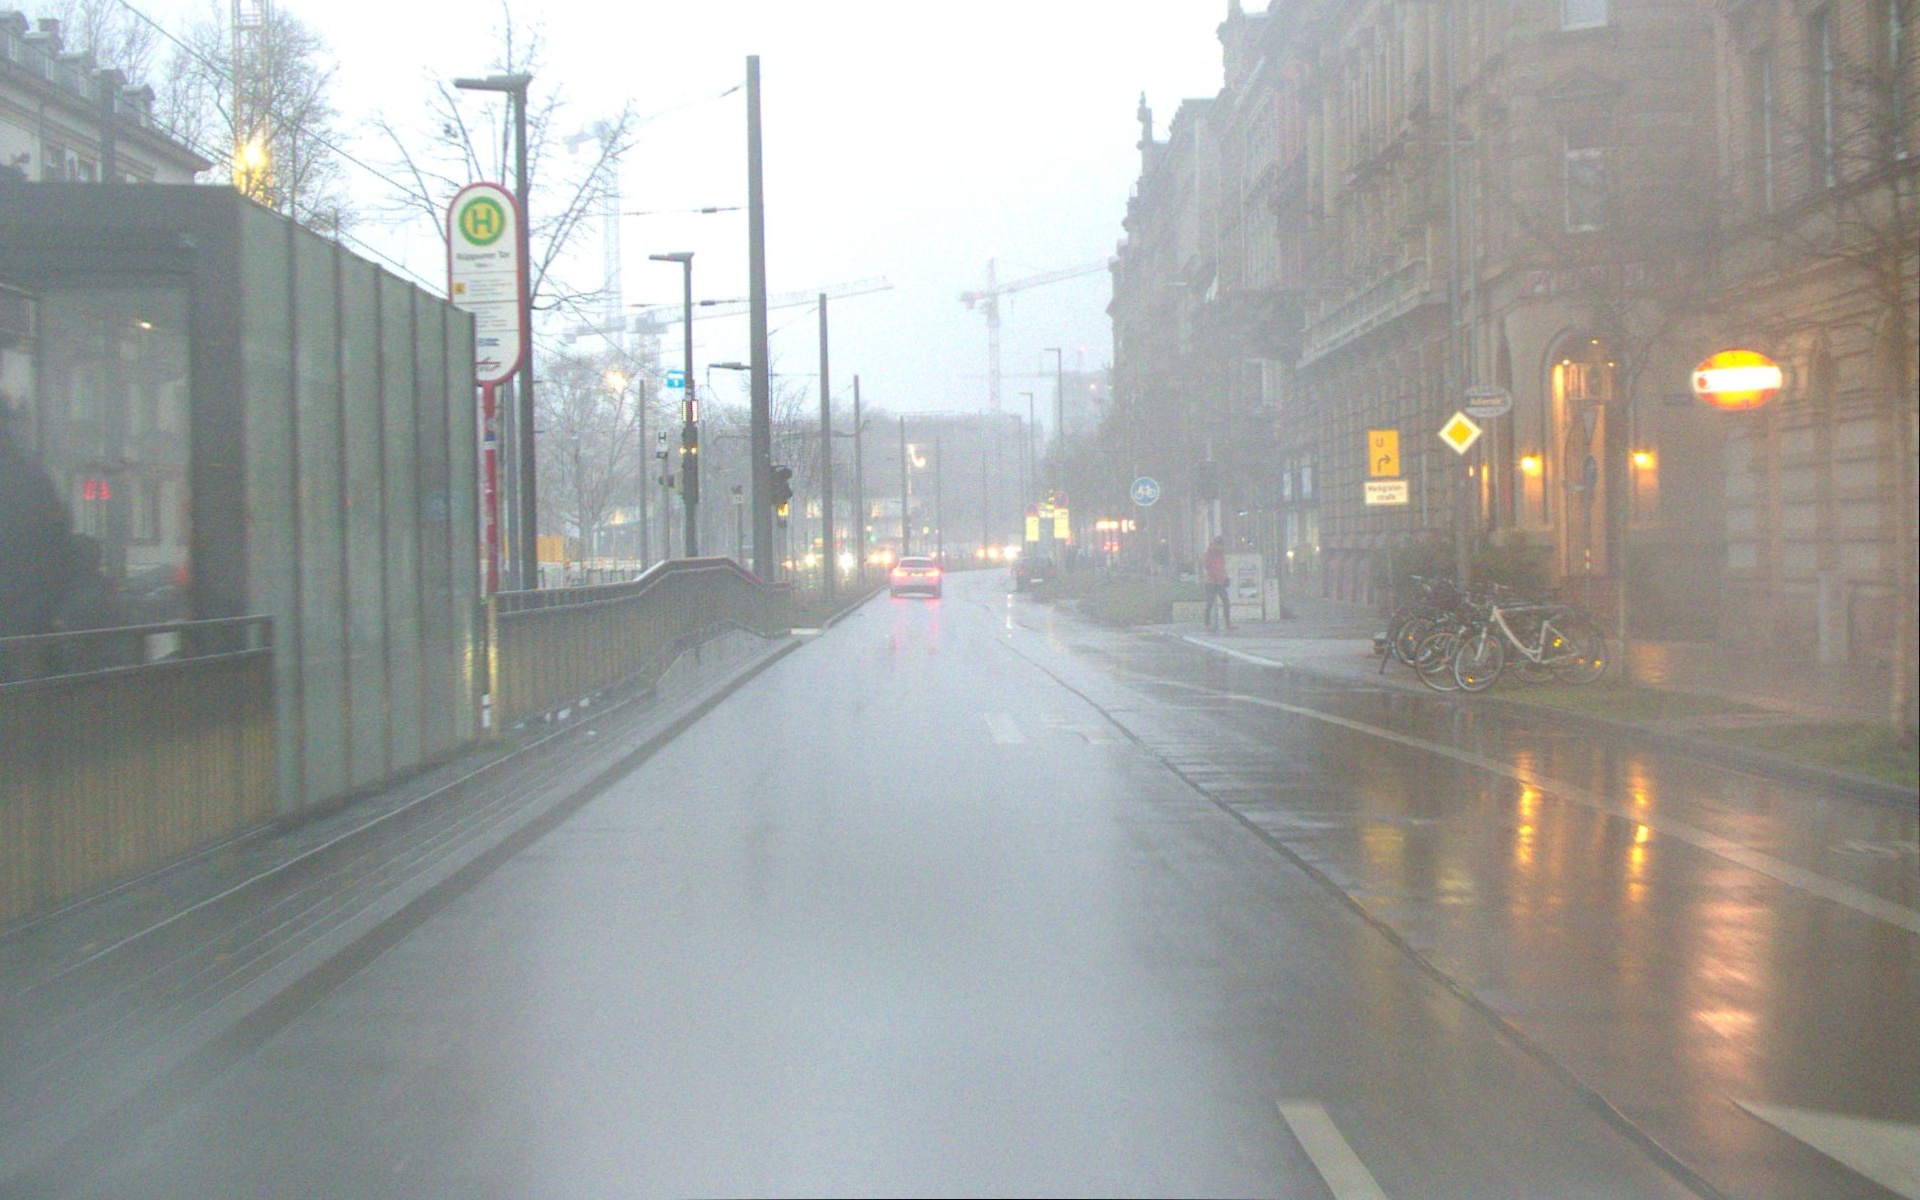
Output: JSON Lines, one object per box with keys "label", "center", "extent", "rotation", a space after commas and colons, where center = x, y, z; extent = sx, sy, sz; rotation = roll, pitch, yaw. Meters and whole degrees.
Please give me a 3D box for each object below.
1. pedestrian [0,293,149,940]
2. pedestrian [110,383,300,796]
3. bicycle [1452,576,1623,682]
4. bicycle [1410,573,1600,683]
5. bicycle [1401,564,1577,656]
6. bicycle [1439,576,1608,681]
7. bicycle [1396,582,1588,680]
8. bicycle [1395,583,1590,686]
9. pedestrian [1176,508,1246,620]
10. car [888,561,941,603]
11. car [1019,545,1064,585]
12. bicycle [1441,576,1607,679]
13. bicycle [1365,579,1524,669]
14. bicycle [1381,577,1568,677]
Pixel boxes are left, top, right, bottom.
{"label": "pedestrian", "center": [-3.265, 0.052, 11.618], "extent": [0.809, 2.103, 0.804], "rotation": [-1, 1, 0]}
{"label": "pedestrian", "center": [-3.951, -0.061, 18.041], "extent": [0.809, 2.103, 0.804], "rotation": [-1, 1, -3]}
{"label": "bicycle", "center": [6.188, 0.308, 36.859], "extent": [1.729, 1.051, 0.371], "rotation": [-3, 1, -1]}
{"label": "bicycle", "center": [6.145, 0.315, 38.773], "extent": [2.008, 1.091, 0.425], "rotation": [-4, 1, -1]}
{"label": "bicycle", "center": [6.641, 0.120, 43.211], "extent": [2.087, 1.048, 0.478], "rotation": [-3, 1, -2]}
{"label": "bicycle", "center": [6.121, 0.304, 37.360], "extent": [1.729, 1.051, 0.371], "rotation": [-3, 1, -1]}
{"label": "bicycle", "center": [6.278, 0.364, 40.600], "extent": [2.144, 1.051, 0.484], "rotation": [-3, 1, -1]}
{"label": "bicycle", "center": [6.204, 0.398, 40.081], "extent": [2.144, 1.051, 0.425], "rotation": [-4, 2, -1]}
{"label": "pedestrian", "center": [4.558, -0.663, 62.445], "extent": [0.853, 2.007, 0.918], "rotation": [-2, 1, -30]}
{"label": "car", "center": [-1.650, -0.674, 125.998], "extent": [1.784, 1.462, 3.148], "rotation": [-1, 1, 1]}
{"label": "car", "center": [3.439, -1.468, 144.655], "extent": [1.799, 1.598, 3.770], "rotation": [-2, 1, 2]}
{"label": "bicycle", "center": [6.236, 0.298, 38.044], "extent": [1.729, 1.051, 0.371], "rotation": [-3, 1, -1]}
{"label": "bicycle", "center": [6.254, 0.299, 44.342], "extent": [2.087, 1.048, 0.478], "rotation": [-3, 1, -26]}
{"label": "bicycle", "center": [6.256, 0.321, 41.840], "extent": [2.144, 1.051, 0.425], "rotation": [-4, 2, -1]}
